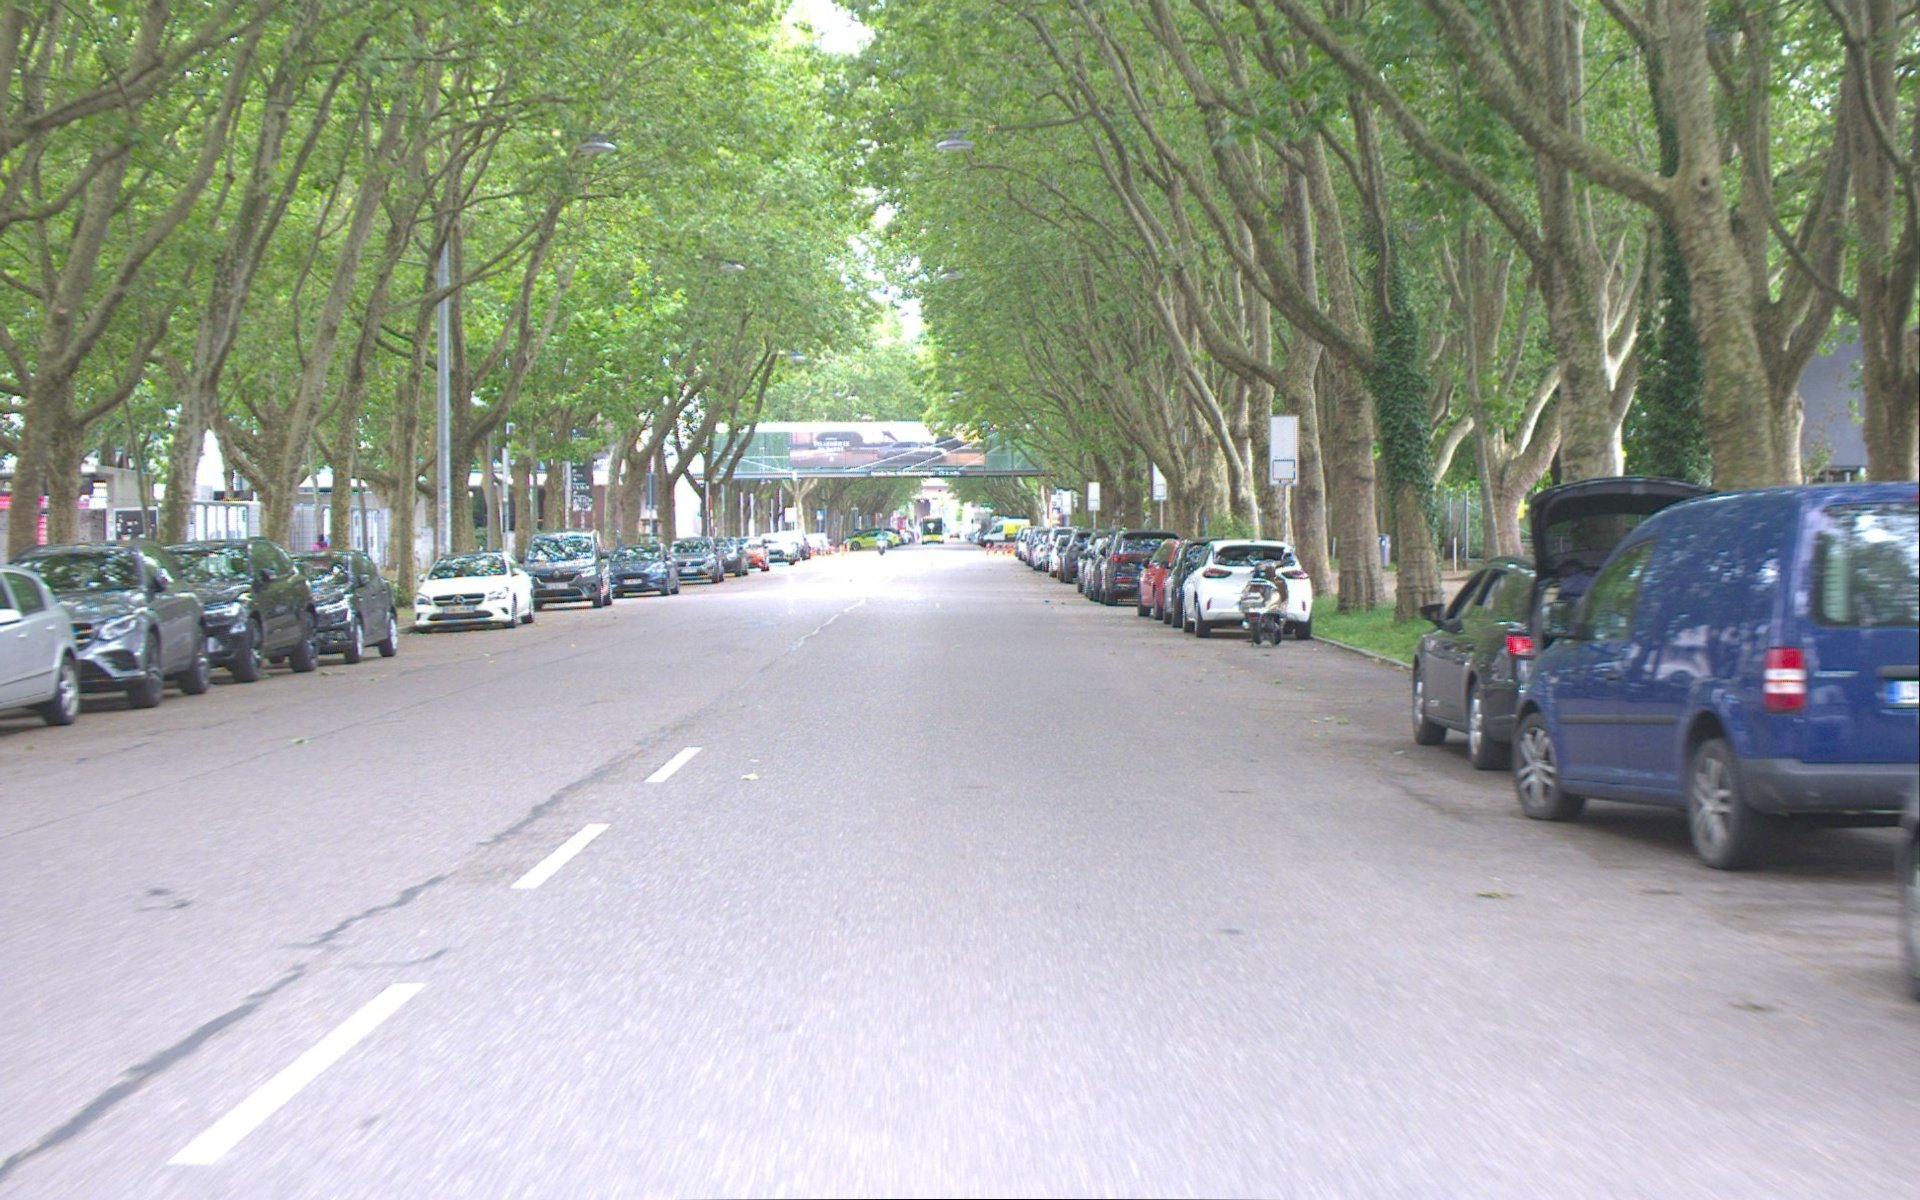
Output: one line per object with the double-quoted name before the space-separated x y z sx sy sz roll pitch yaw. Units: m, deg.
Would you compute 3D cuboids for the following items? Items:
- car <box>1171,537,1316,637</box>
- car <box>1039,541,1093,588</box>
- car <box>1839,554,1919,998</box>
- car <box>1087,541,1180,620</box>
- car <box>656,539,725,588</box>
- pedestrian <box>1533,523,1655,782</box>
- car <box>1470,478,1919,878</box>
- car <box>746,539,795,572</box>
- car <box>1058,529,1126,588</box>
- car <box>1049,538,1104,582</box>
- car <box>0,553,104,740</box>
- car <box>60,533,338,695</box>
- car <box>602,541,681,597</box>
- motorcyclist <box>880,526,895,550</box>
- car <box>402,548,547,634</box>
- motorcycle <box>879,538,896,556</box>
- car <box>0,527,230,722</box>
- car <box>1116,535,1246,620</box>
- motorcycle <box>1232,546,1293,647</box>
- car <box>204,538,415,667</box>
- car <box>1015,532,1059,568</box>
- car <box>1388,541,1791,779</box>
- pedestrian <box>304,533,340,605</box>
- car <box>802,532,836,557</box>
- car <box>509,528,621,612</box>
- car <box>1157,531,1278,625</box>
"car" 4.234 -0.228 51.854 1.735 1.433 4.123 0 1 -1
"car" 4.001 -1.351 130.041 1.903 1.733 4.506 0 1 0
"car" 3.981 0.633 10.497 1.619 1.456 3.946 2 1 1
"car" 3.701 -0.444 73.803 1.755 1.614 4.439 1 1 0
"car" -8.785 -1.221 112.409 1.878 1.521 4.151 -1 1 0
"pedestrian" 4.049 0.322 21.985 0.633 1.621 0.742 0 1 0
"car" 4.198 0.305 17.679 1.841 1.777 4.449 2 1 -9
"car" -9.177 -2.179 166.444 2.073 1.557 4.756 0 1 0
"car" 3.943 -1.253 103.096 1.707 1.692 4.631 1 1 -1
"car" 3.929 -1.362 116.188 1.707 1.422 3.889 1 1 0
"car" -8.507 0.408 28.196 1.833 1.451 4.230 -4 1 0
"car" -8.744 0.102 39.951 1.937 1.637 4.928 -4 1 1
"car" -8.744 -0.860 94.600 1.724 1.481 4.575 0 1 0
"motorcyclist" -4.422 -3.781 209.229 0.870 1.475 1.265 0 1 -3
"car" -8.876 -0.191 63.192 1.904 1.398 4.751 -4 1 0
"motorcycle" -4.415 -3.215 209.254 0.873 1.075 3.053 0 1 -3
"car" -8.592 0.198 34.025 1.869 1.712 4.649 -4 1 -3
"car" 3.969 -0.436 62.439 1.716 1.433 4.630 1 1 -4
"motorcycle" 4.124 -0.062 46.727 0.712 1.327 1.992 0 1 8
"car" -8.537 -0.007 45.505 1.833 1.489 4.443 -4 1 1
"car" 3.420 -2.245 153.010 1.802 1.550 4.000 0 1 -1
"car" 4.292 0.344 24.157 1.993 1.473 4.371 1 1 0
"pedestrian" -15.378 -0.756 82.894 0.575 1.736 0.767 0 1 15
"car" -9.003 -3.545 219.538 1.993 1.596 4.001 0 1 -5
"car" -8.773 -0.685 76.697 1.949 1.744 4.638 -2 1 0
"car" 4.272 -0.389 57.554 1.730 1.465 4.080 2 1 1
